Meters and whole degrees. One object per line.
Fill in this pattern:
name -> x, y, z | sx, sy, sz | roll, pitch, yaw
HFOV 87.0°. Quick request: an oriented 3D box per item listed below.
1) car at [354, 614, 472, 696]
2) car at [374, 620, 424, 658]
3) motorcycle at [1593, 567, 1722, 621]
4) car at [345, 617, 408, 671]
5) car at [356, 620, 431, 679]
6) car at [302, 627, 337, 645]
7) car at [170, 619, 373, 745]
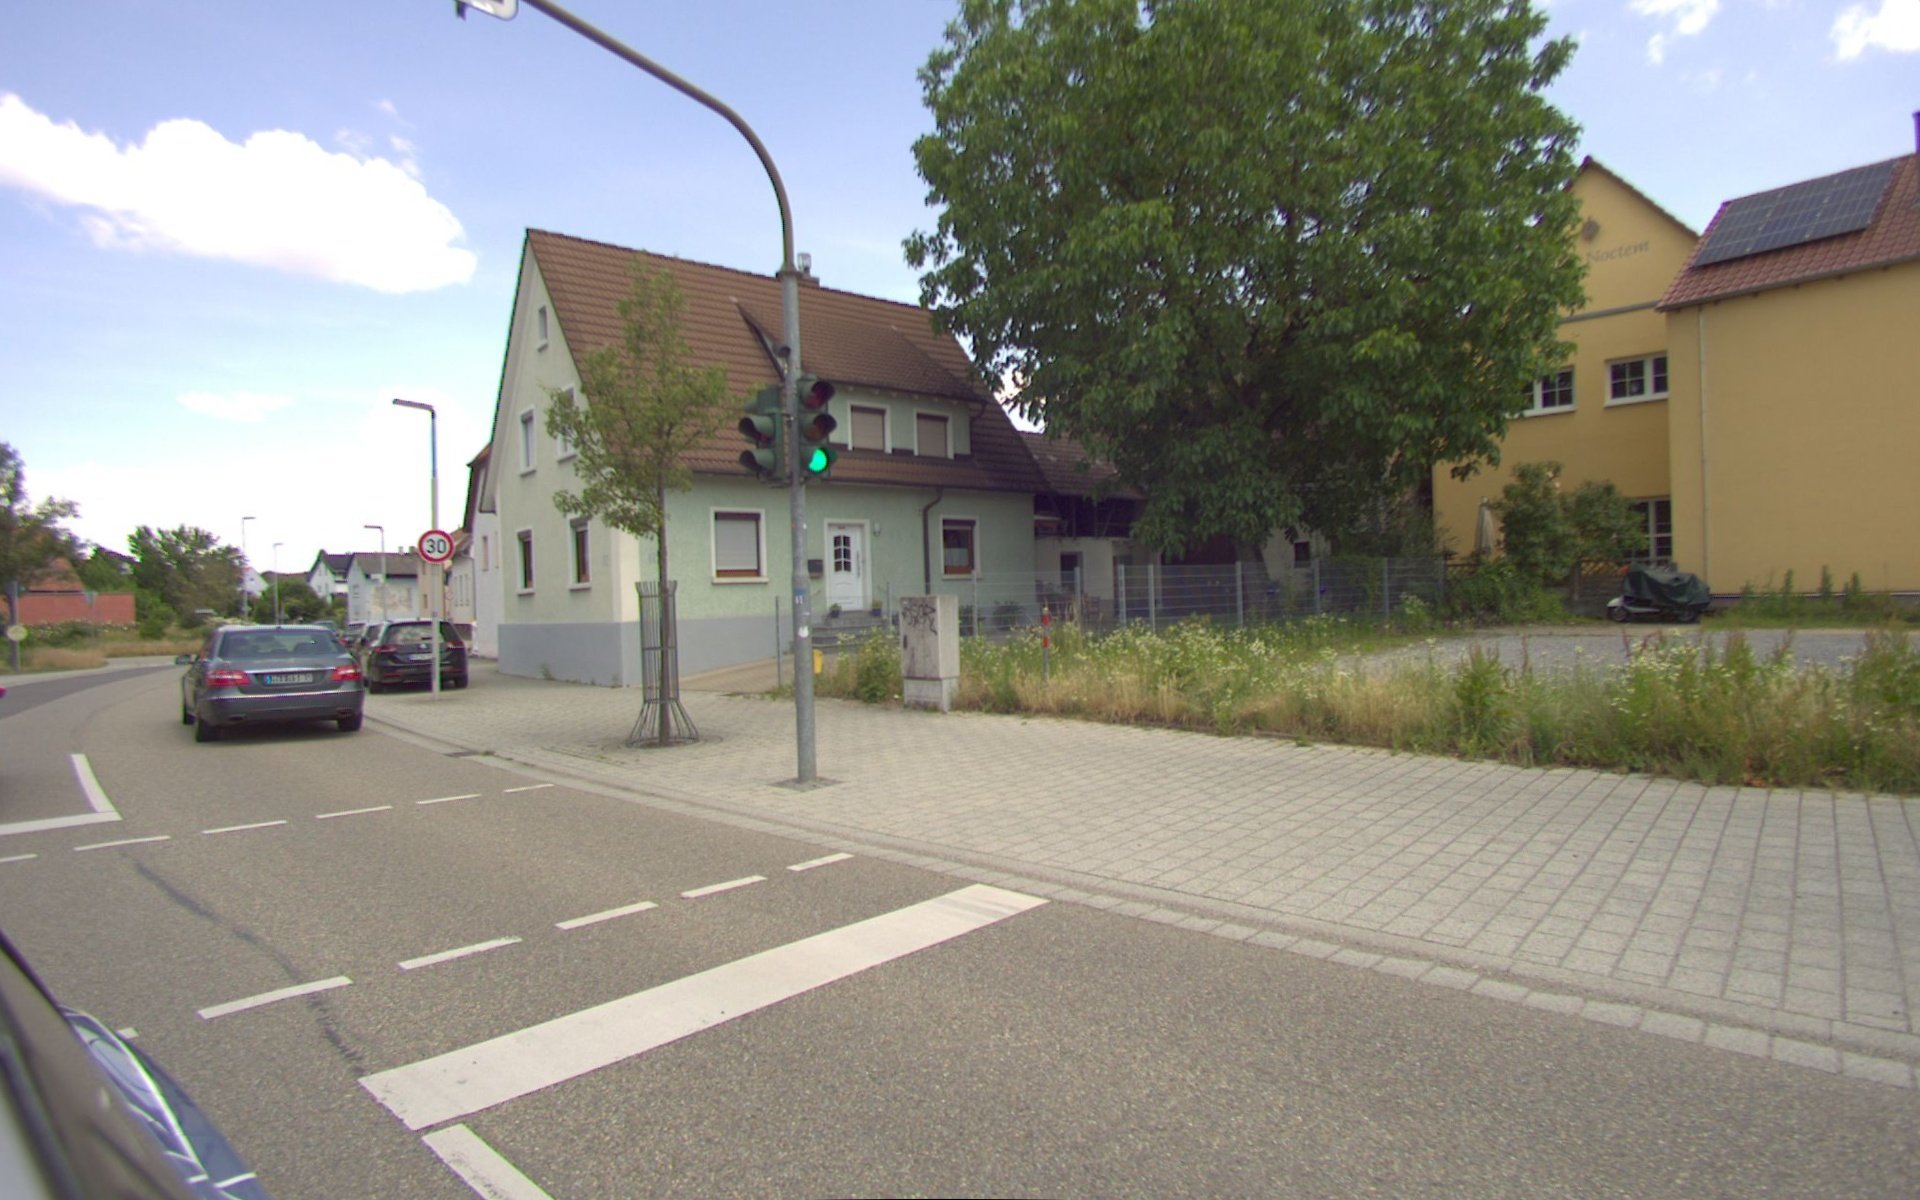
car -> -11.613, 1.079, 21.327 | 1.709, 1.502, 4.512 | -1, 0, -35
car -> -25.922, 1.773, 46.857 | 1.632, 1.586, 3.704 | -1, 0, -23
motorcycle -> 14.280, -0.114, 20.759 | 2.067, 1.028, 0.772 | -2, 0, 45
car -> -18.614, 1.340, 32.265 | 1.632, 1.574, 3.702 | -1, 0, -31
car -> -15.218, 1.271, 27.116 | 1.632, 1.406, 3.703 | -1, 0, -31
car -> -46.201, 2.560, 72.992 | 1.967, 1.198, 4.010 | 0, -1, -35
car -> -9.723, 1.035, 14.130 | 1.860, 1.446, 4.603 | 0, -2, -40
